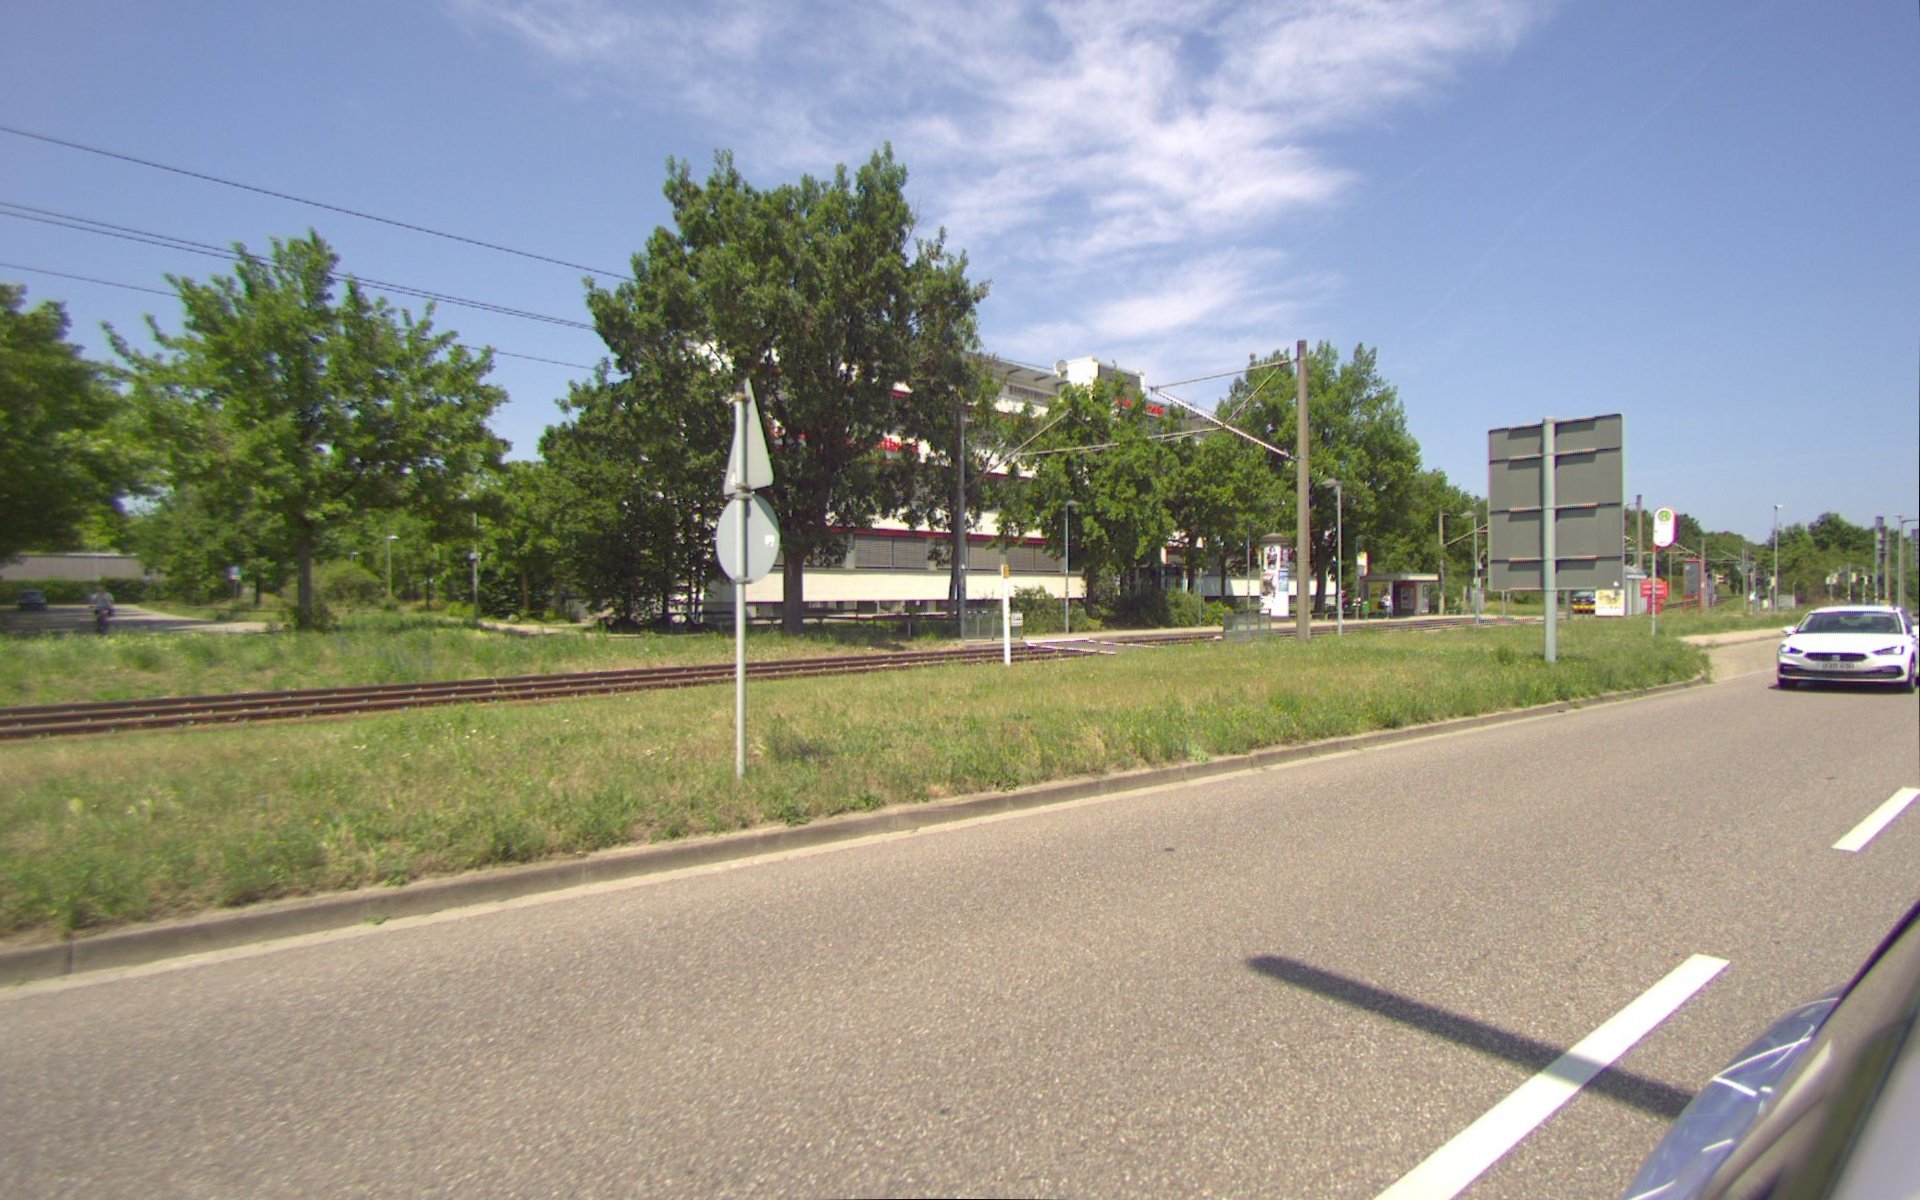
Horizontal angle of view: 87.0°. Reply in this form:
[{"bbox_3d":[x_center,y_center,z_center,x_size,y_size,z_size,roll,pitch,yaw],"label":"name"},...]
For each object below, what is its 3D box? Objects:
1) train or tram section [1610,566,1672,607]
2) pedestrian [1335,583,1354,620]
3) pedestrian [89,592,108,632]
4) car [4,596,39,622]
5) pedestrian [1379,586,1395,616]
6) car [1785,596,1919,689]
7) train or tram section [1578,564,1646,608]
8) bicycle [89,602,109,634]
[{"bbox_3d":[65.224,-1.264,96.761,2.814,3.627,12.303,0,0,44],"label":"train or tram section"},{"bbox_3d":[19.690,0.065,51.800,0.691,1.865,0.703,-2,-1,34],"label":"pedestrian"},{"bbox_3d":[-31.117,0.412,36.544,0.582,1.421,0.452,0,0,41],"label":"pedestrian"},{"bbox_3d":[-79.745,0.763,85.969,3.986,2.039,1.969,-2,-1,44],"label":"car"},{"bbox_3d":[24.046,0.060,56.954,0.678,1.628,0.553,-1,-1,-41],"label":"pedestrian"},{"bbox_3d":[16.297,0.660,18.077,4.373,1.407,1.685,0,2,-41],"label":"car"},{"bbox_3d":[56.719,-1.179,87.862,2.813,3.627,12.305,0,0,43],"label":"train or tram section"},{"bbox_3d":[-31.159,0.635,36.623,1.576,1.134,0.424,0,0,44],"label":"bicycle"}]
